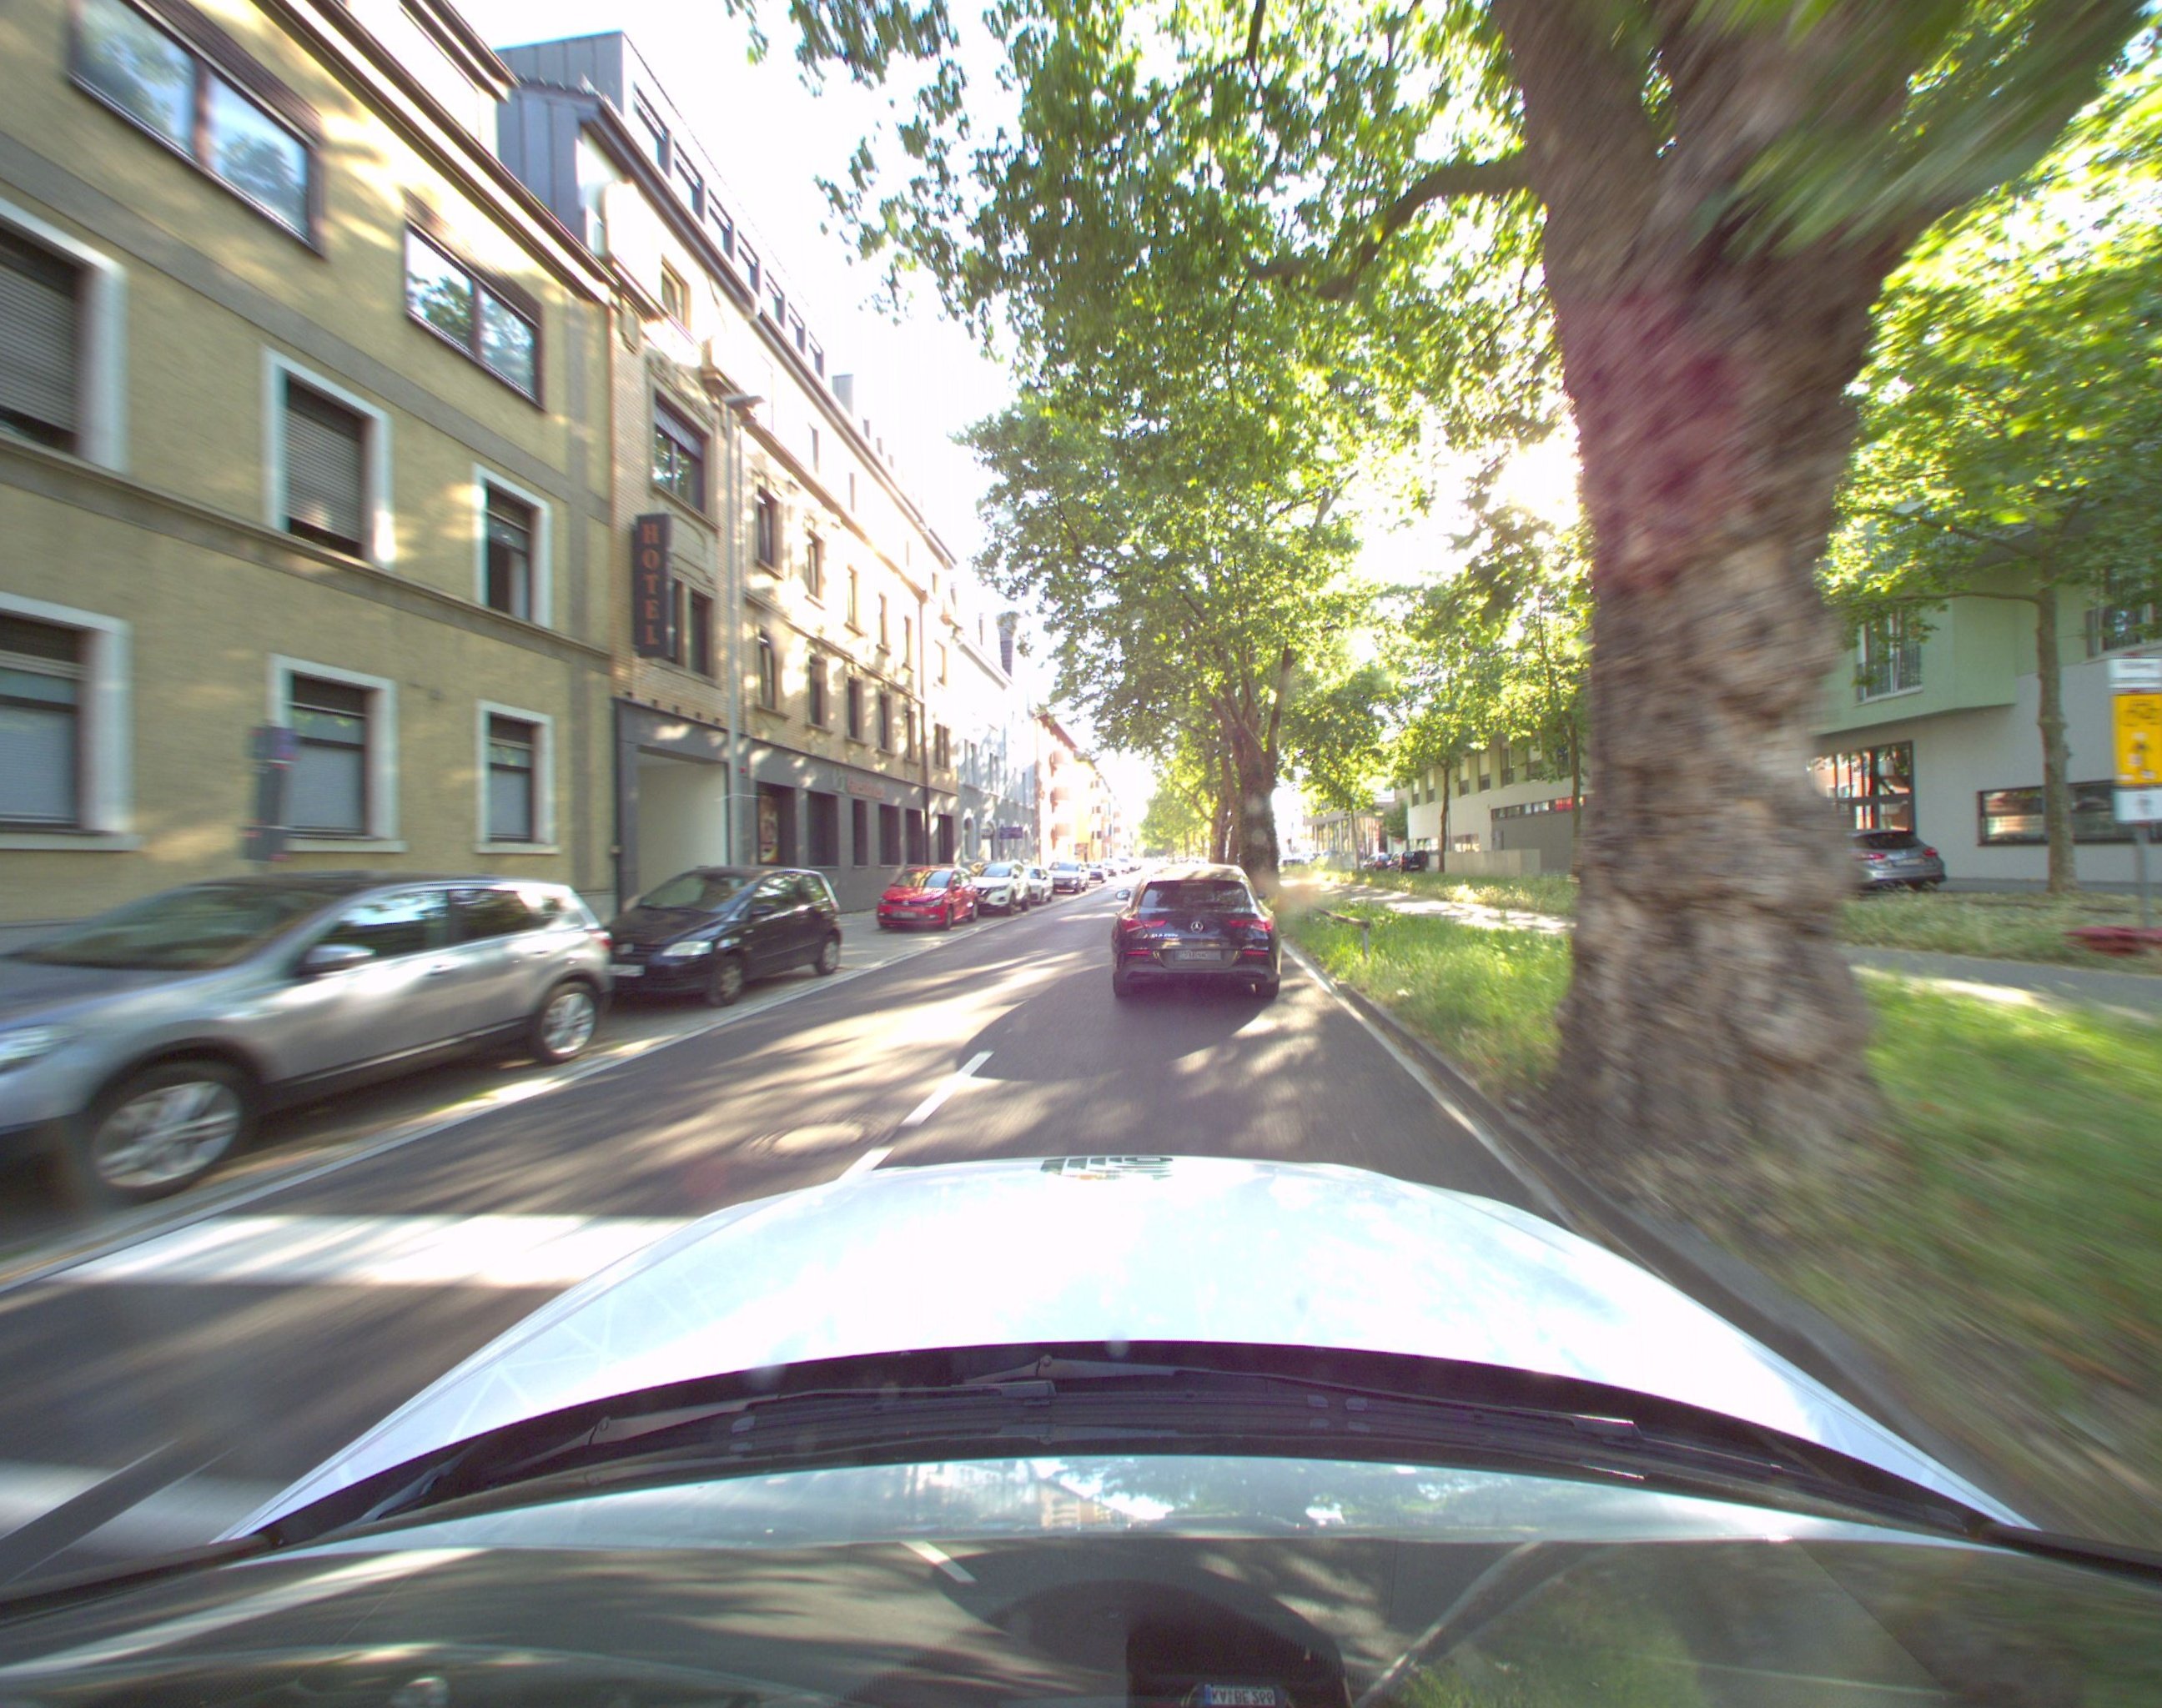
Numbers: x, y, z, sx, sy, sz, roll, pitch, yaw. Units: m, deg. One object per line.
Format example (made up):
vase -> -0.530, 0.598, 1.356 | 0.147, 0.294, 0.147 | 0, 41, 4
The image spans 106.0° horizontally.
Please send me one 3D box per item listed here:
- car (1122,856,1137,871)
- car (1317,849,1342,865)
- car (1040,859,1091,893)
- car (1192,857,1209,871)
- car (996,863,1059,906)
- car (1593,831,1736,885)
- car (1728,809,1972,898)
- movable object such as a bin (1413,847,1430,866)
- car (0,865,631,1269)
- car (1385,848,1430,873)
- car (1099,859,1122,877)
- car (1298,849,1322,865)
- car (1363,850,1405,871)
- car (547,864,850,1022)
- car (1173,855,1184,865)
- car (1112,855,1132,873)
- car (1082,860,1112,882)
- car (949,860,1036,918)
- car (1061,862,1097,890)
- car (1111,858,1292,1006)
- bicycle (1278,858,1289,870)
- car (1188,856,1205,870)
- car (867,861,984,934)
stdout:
car -> 6.158, 1.182, 103.525 | 1.737, 1.787, 4.555 | 0, 0, 5
car -> 28.941, 0.325, 94.985 | 1.976, 1.733, 4.186 | -2, 0, 5
car -> -0.737, 1.075, 41.515 | 1.897, 1.641, 4.587 | 0, 0, 8
car -> 13.755, 1.121, 93.867 | 1.627, 1.468, 4.026 | -3, -1, 4
car -> -1.988, 1.104, 31.152 | 1.668, 1.496, 3.880 | 0, 0, 8
car -> 18.693, 0.128, 26.371 | 1.849, 1.543, 4.328 | -2, 0, 7
car -> 17.593, -0.006, 18.991 | 1.895, 1.771, 4.328 | -2, 0, 7
movable object such as a bin -> 27.734, 0.176, 66.354 | 1.183, 1.463, 1.414 | -2, -1, 18
car -> -5.229, 0.936, 5.405 | 1.772, 1.673, 4.165 | 0, 0, 8
car -> 21.835, 0.420, 54.544 | 1.849, 1.553, 3.766 | -2, 0, 6
car -> 2.574, 1.194, 70.521 | 1.668, 1.524, 4.029 | 0, 0, 8
car -> 26.776, 0.360, 95.318 | 1.867, 1.733, 4.184 | -2, 0, 4
car -> 22.753, 0.478, 61.251 | 1.850, 1.468, 4.129 | -2, 0, 5
car -> -4.570, 0.943, 10.404 | 1.668, 1.605, 3.715 | 0, 0, 9
car -> 19.958, 1.286, 166.553 | 1.986, 2.014, 4.002 | -1, -2, 2
car -> 4.594, 1.046, 90.607 | 1.724, 1.907, 5.220 | -1, 0, 8
car -> 1.171, 1.186, 57.343 | 1.668, 1.486, 3.609 | 0, 0, 7
car -> -2.575, 0.988, 24.755 | 1.668, 1.585, 4.209 | 0, 0, 8
car -> -0.066, 1.322, 50.007 | 1.668, 1.641, 3.993 | 0, 0, 8
car -> 1.247, 0.769, 9.930 | 1.738, 1.443, 3.970 | 0, 0, 2
bicycle -> 17.829, 0.909, 71.665 | 0.383, 1.003, 1.481 | -2, -1, -10
car -> 14.265, 1.133, 100.694 | 1.801, 1.539, 4.591 | -4, -1, 6
car -> -3.665, 0.967, 19.858 | 1.668, 1.592, 3.764 | 0, 0, 7
